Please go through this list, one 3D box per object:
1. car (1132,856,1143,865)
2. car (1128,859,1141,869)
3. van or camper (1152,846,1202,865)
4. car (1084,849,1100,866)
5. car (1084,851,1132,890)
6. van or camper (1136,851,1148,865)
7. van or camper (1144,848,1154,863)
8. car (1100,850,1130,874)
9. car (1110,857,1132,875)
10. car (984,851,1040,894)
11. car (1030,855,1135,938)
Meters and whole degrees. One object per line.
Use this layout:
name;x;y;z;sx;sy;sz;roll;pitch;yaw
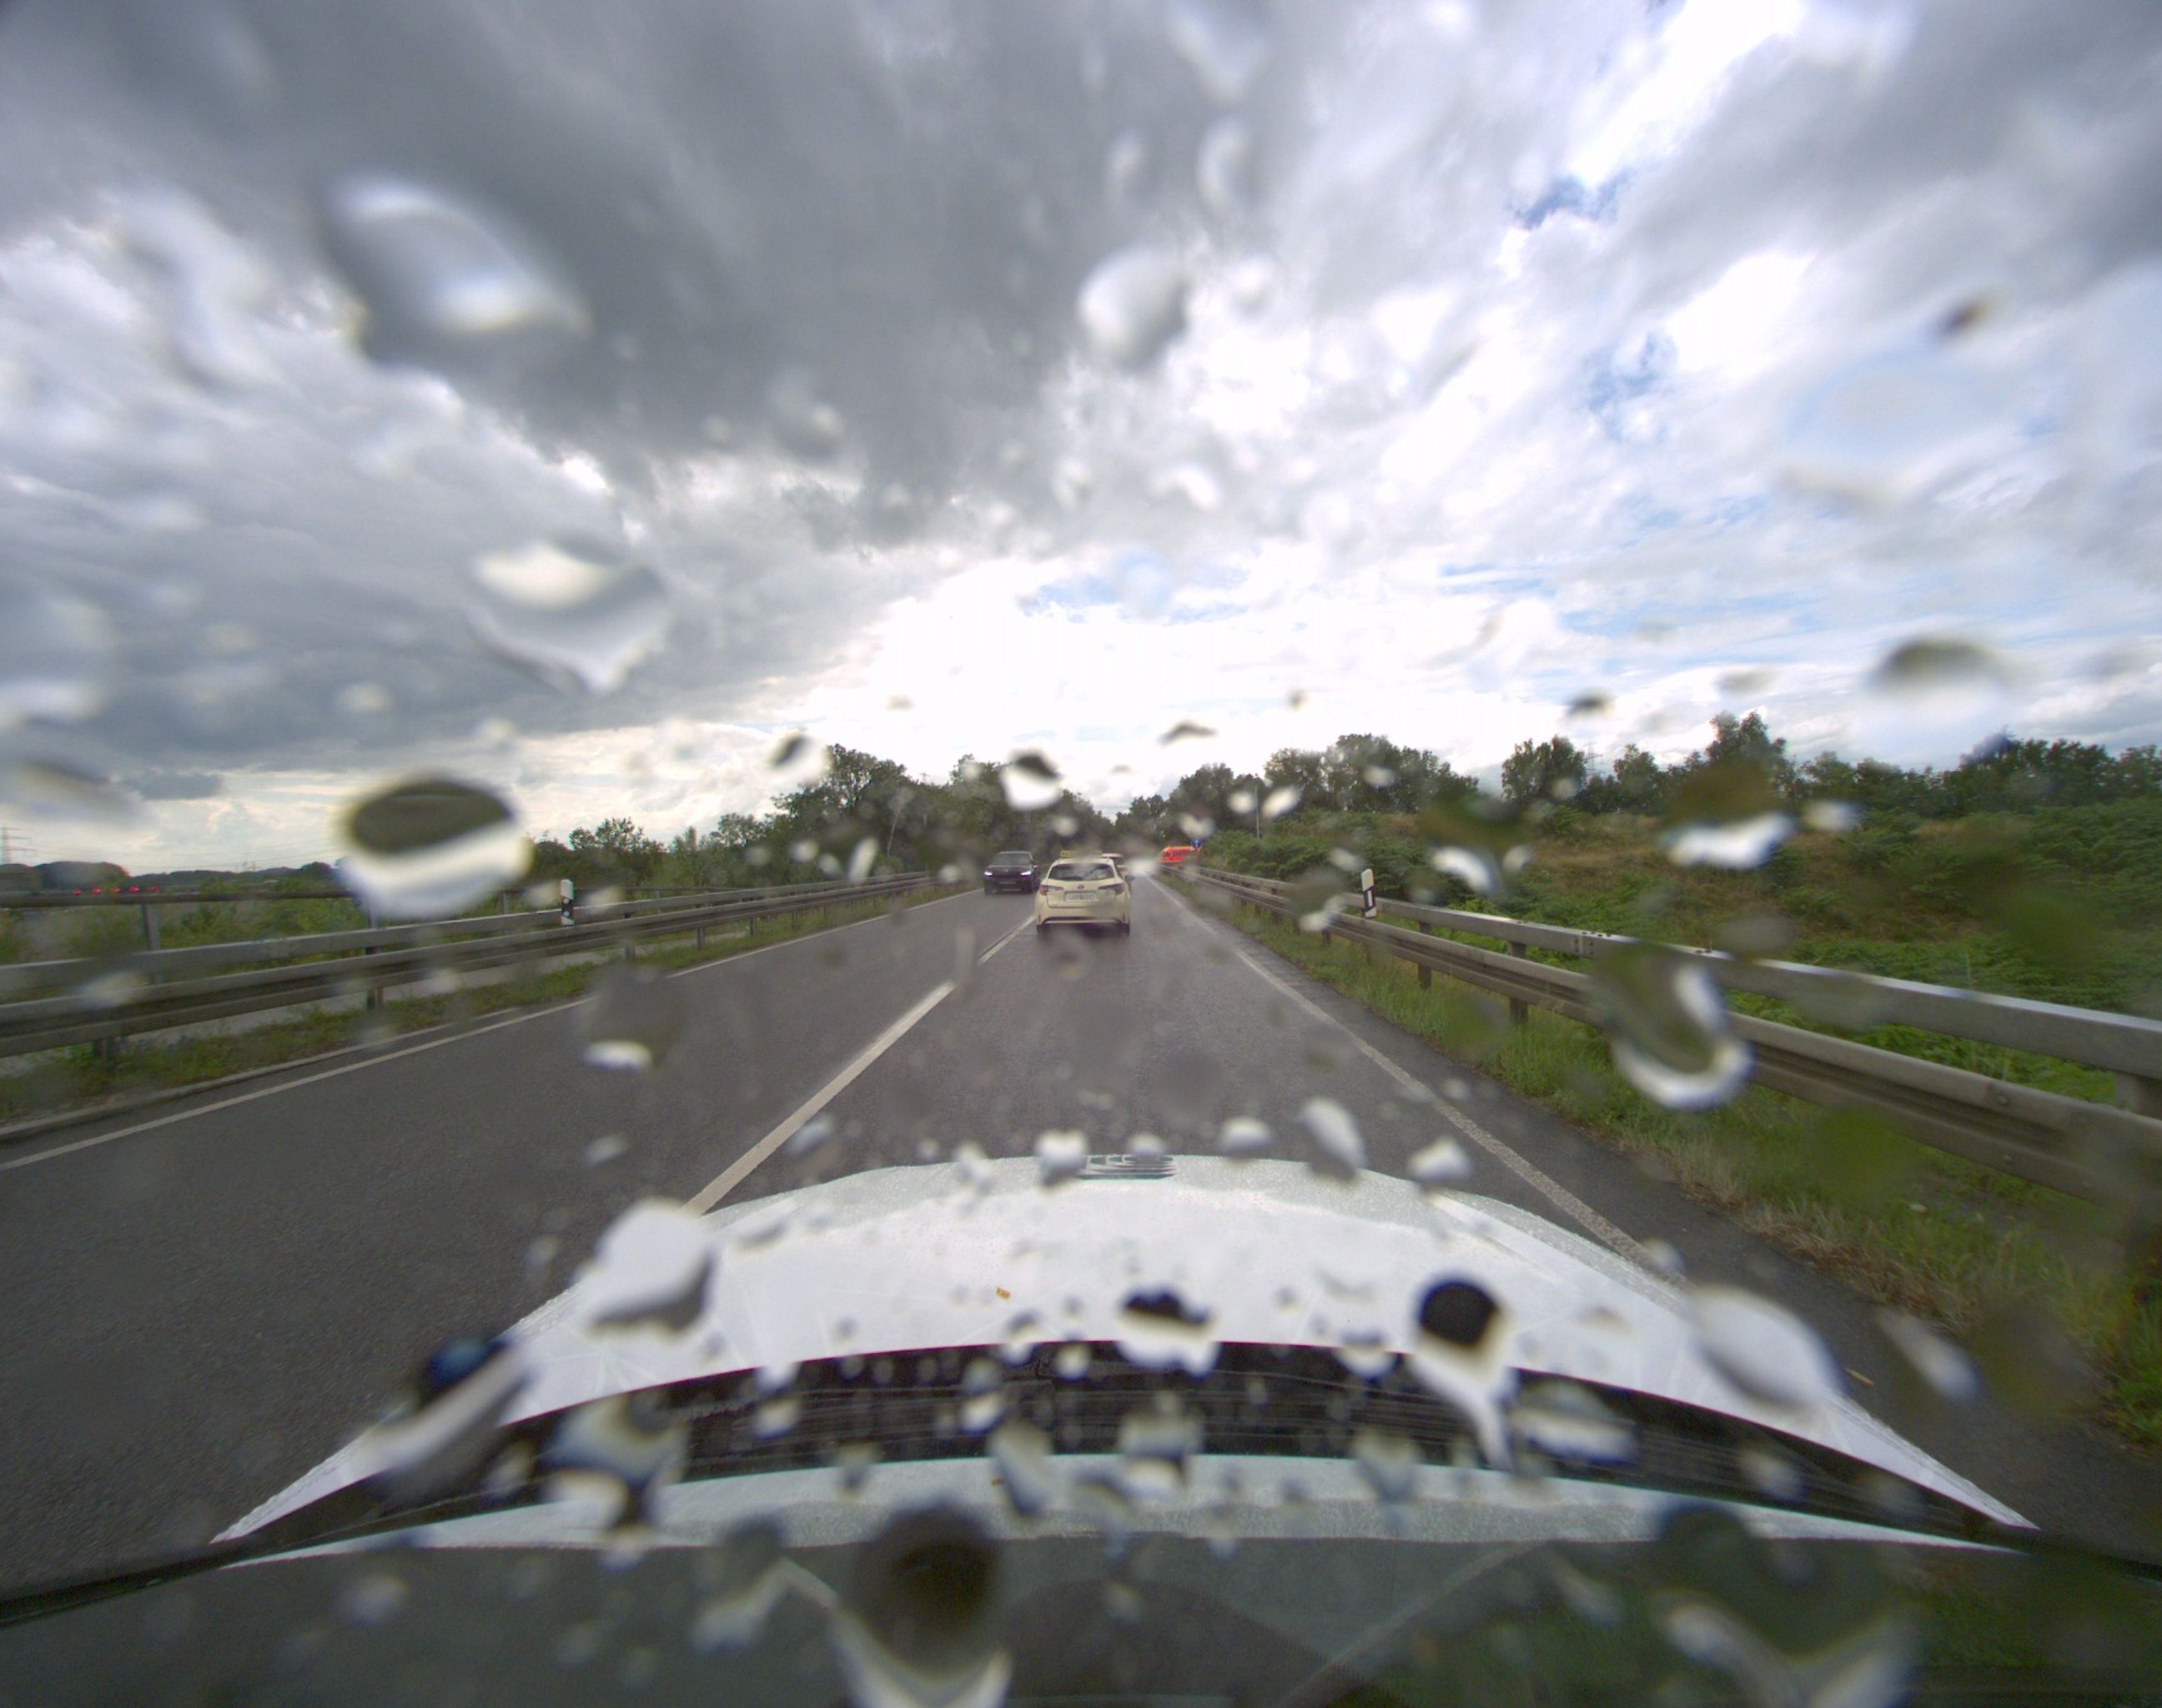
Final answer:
car;10.459;1.165;149.788;1.845;1.443;4.177;0;0;5
car;8.021;1.516;122.741;1.845;1.443;4.177;0;0;5
van or camper;11.627;0.164;98.824;5.684;2.241;2.011;-1;0;-13
car;1.536;0.475;108.930;1.985;2.128;4.898;0;0;3
car;1.119;0.649;33.702;1.847;1.443;4.172;0;1;1
van or camper;12.922;0.808;172.074;2.323;2.864;6.312;0;0;3
van or camper;16.538;0.328;199.115;2.323;3.562;6.312;0;0;3
car;2.197;0.505;53.585;1.847;1.443;4.172;0;1;1
car;3.586;1.061;73.819;1.847;1.443;4.172;0;1;1
car;-2.640;0.664;32.024;1.773;1.561;4.303;0;0;1
car;0.089;0.752;16.480;1.847;1.394;4.172;0;1;1
